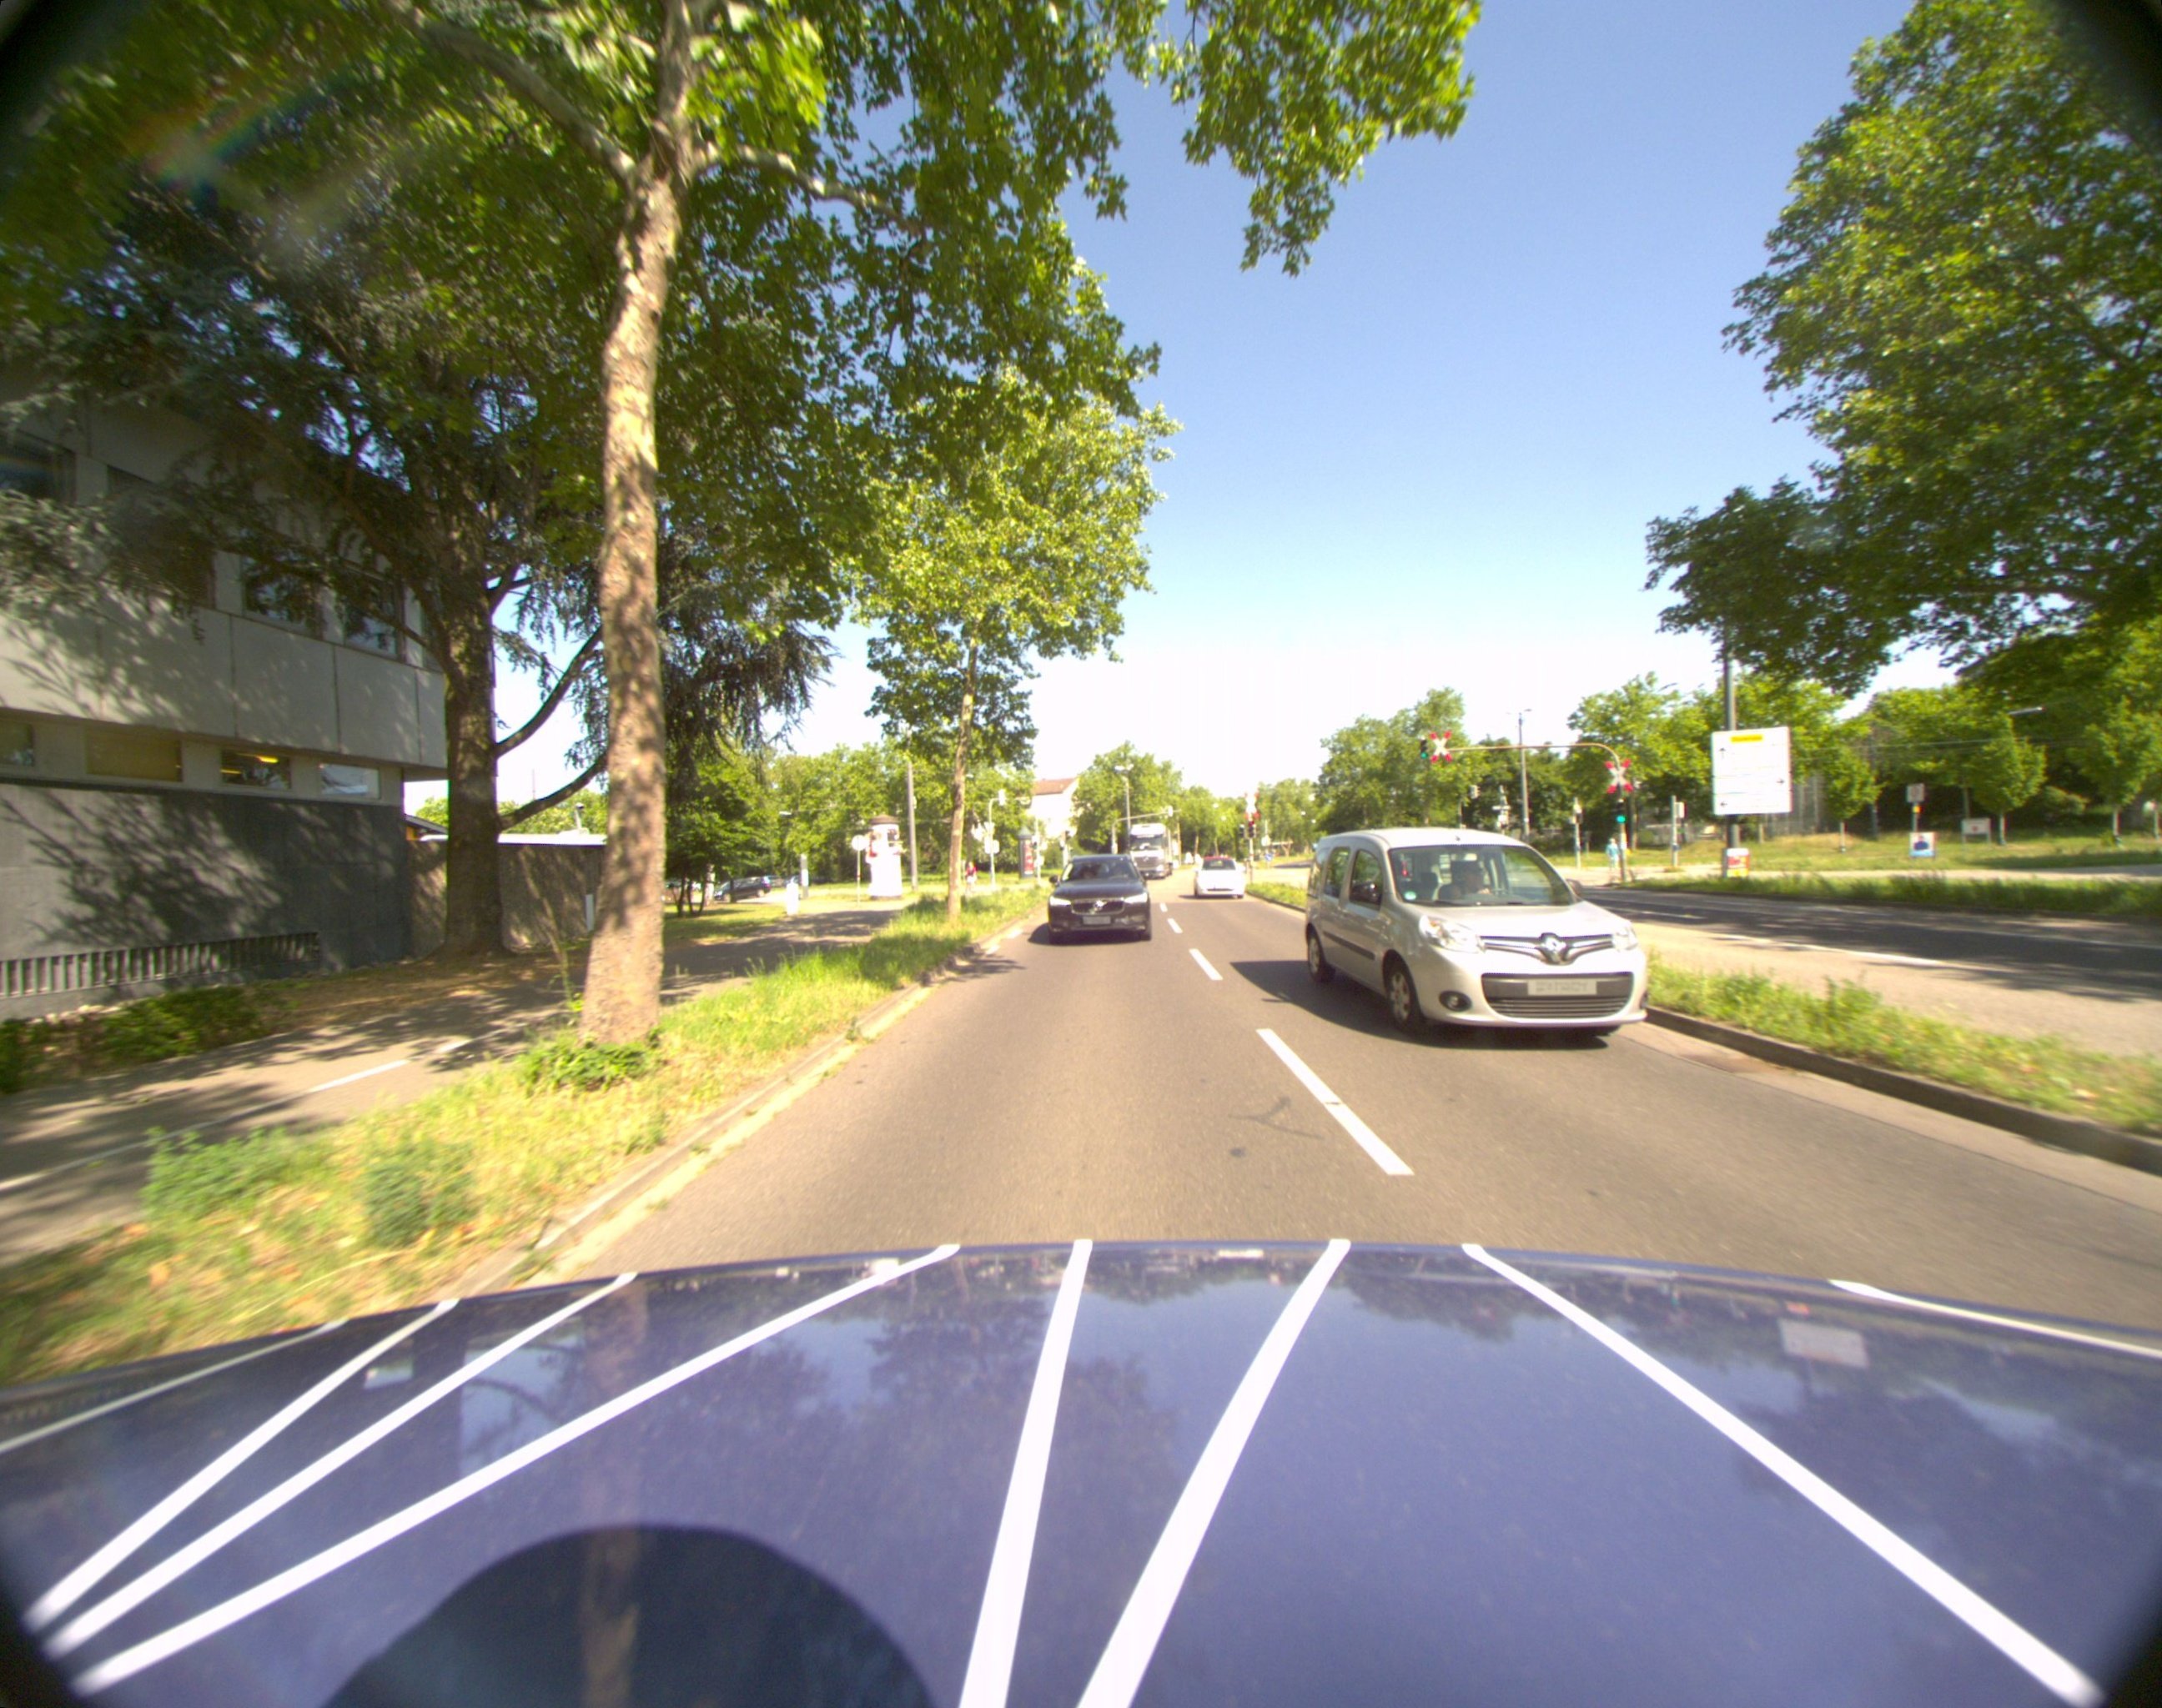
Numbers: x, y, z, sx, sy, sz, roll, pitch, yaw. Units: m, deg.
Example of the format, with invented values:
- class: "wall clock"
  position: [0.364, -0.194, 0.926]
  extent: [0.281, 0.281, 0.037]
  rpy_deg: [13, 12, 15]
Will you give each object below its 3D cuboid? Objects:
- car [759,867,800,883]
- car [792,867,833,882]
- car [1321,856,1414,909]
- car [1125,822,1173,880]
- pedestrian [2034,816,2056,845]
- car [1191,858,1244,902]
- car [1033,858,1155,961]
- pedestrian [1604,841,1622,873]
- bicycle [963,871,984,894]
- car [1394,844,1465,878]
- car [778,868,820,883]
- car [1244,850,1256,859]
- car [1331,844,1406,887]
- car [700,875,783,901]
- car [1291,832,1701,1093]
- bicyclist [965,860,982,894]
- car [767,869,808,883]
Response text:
- class: "car"
  position: [-36.851, 2.567, 92.910]
  extent: [1.996, 1.623, 4.362]
  rpy_deg: [-4, -1, 24]
- class: "car"
  position: [-31.048, 2.343, 87.973]
  extent: [1.995, 1.482, 4.362]
  rpy_deg: [-2, 0, 24]
- class: "car"
  position: [9.003, 0.832, 24.227]
  extent: [1.697, 1.499, 4.131]
  rpy_deg: [-2, 0, 5]
- class: "car"
  position: [5.100, -0.203, 55.769]
  extent: [2.901, 3.897, 7.147]
  rpy_deg: [-2, 0, 9]
- class: "pedestrian"
  position: [71.688, -1.731, 56.516]
  extent: [0.618, 2.078, 0.755]
  rpy_deg: [-2, 0, 4]
- class: "car"
  position: [5.003, 0.916, 28.209]
  extent: [1.688, 1.482, 4.378]
  rpy_deg: [0, 0, 7]
- class: "car"
  position: [0.345, 0.906, 14.466]
  extent: [1.904, 1.605, 4.874]
  rpy_deg: [-1, -1, 3]
- class: "pedestrian"
  position: [26.159, 0.131, 37.349]
  extent: [0.667, 1.552, 0.367]
  rpy_deg: [-2, 0, 40]
- class: "bicycle"
  position: [-5.753, 1.512, 40.908]
  extent: [0.693, 1.178, 2.126]
  rpy_deg: [-2, 0, 3]
- class: "car"
  position: [17.418, 0.364, 38.177]
  extent: [1.712, 1.580, 4.434]
  rpy_deg: [-1, 0, 3]
- class: "car"
  position: [-33.052, 2.509, 89.182]
  extent: [1.995, 1.482, 4.362]
  rpy_deg: [-2, 0, 24]
- class: "car"
  position: [39.820, 0.085, 178.860]
  extent: [1.995, 2.001, 4.007]
  rpy_deg: [-2, -1, 25]
- class: "car"
  position: [13.207, 0.533, 35.211]
  extent: [1.689, 1.828, 4.995]
  rpy_deg: [-1, 0, 1]
- class: "car"
  position: [-24.268, 2.401, 54.543]
  extent: [2.137, 1.490, 5.127]
  rpy_deg: [-2, 1, 27]
- class: "car"
  position: [3.520, 0.764, 7.545]
  extent: [1.876, 1.829, 4.376]
  rpy_deg: [0, 0, 3]
- class: "bicyclist"
  position: [-5.761, 1.245, 40.822]
  extent: [0.702, 1.776, 0.810]
  rpy_deg: [-2, 0, 3]
- class: "car"
  position: [-35.060, 2.592, 90.880]
  extent: [1.995, 1.482, 4.362]
  rpy_deg: [-2, 0, 24]
